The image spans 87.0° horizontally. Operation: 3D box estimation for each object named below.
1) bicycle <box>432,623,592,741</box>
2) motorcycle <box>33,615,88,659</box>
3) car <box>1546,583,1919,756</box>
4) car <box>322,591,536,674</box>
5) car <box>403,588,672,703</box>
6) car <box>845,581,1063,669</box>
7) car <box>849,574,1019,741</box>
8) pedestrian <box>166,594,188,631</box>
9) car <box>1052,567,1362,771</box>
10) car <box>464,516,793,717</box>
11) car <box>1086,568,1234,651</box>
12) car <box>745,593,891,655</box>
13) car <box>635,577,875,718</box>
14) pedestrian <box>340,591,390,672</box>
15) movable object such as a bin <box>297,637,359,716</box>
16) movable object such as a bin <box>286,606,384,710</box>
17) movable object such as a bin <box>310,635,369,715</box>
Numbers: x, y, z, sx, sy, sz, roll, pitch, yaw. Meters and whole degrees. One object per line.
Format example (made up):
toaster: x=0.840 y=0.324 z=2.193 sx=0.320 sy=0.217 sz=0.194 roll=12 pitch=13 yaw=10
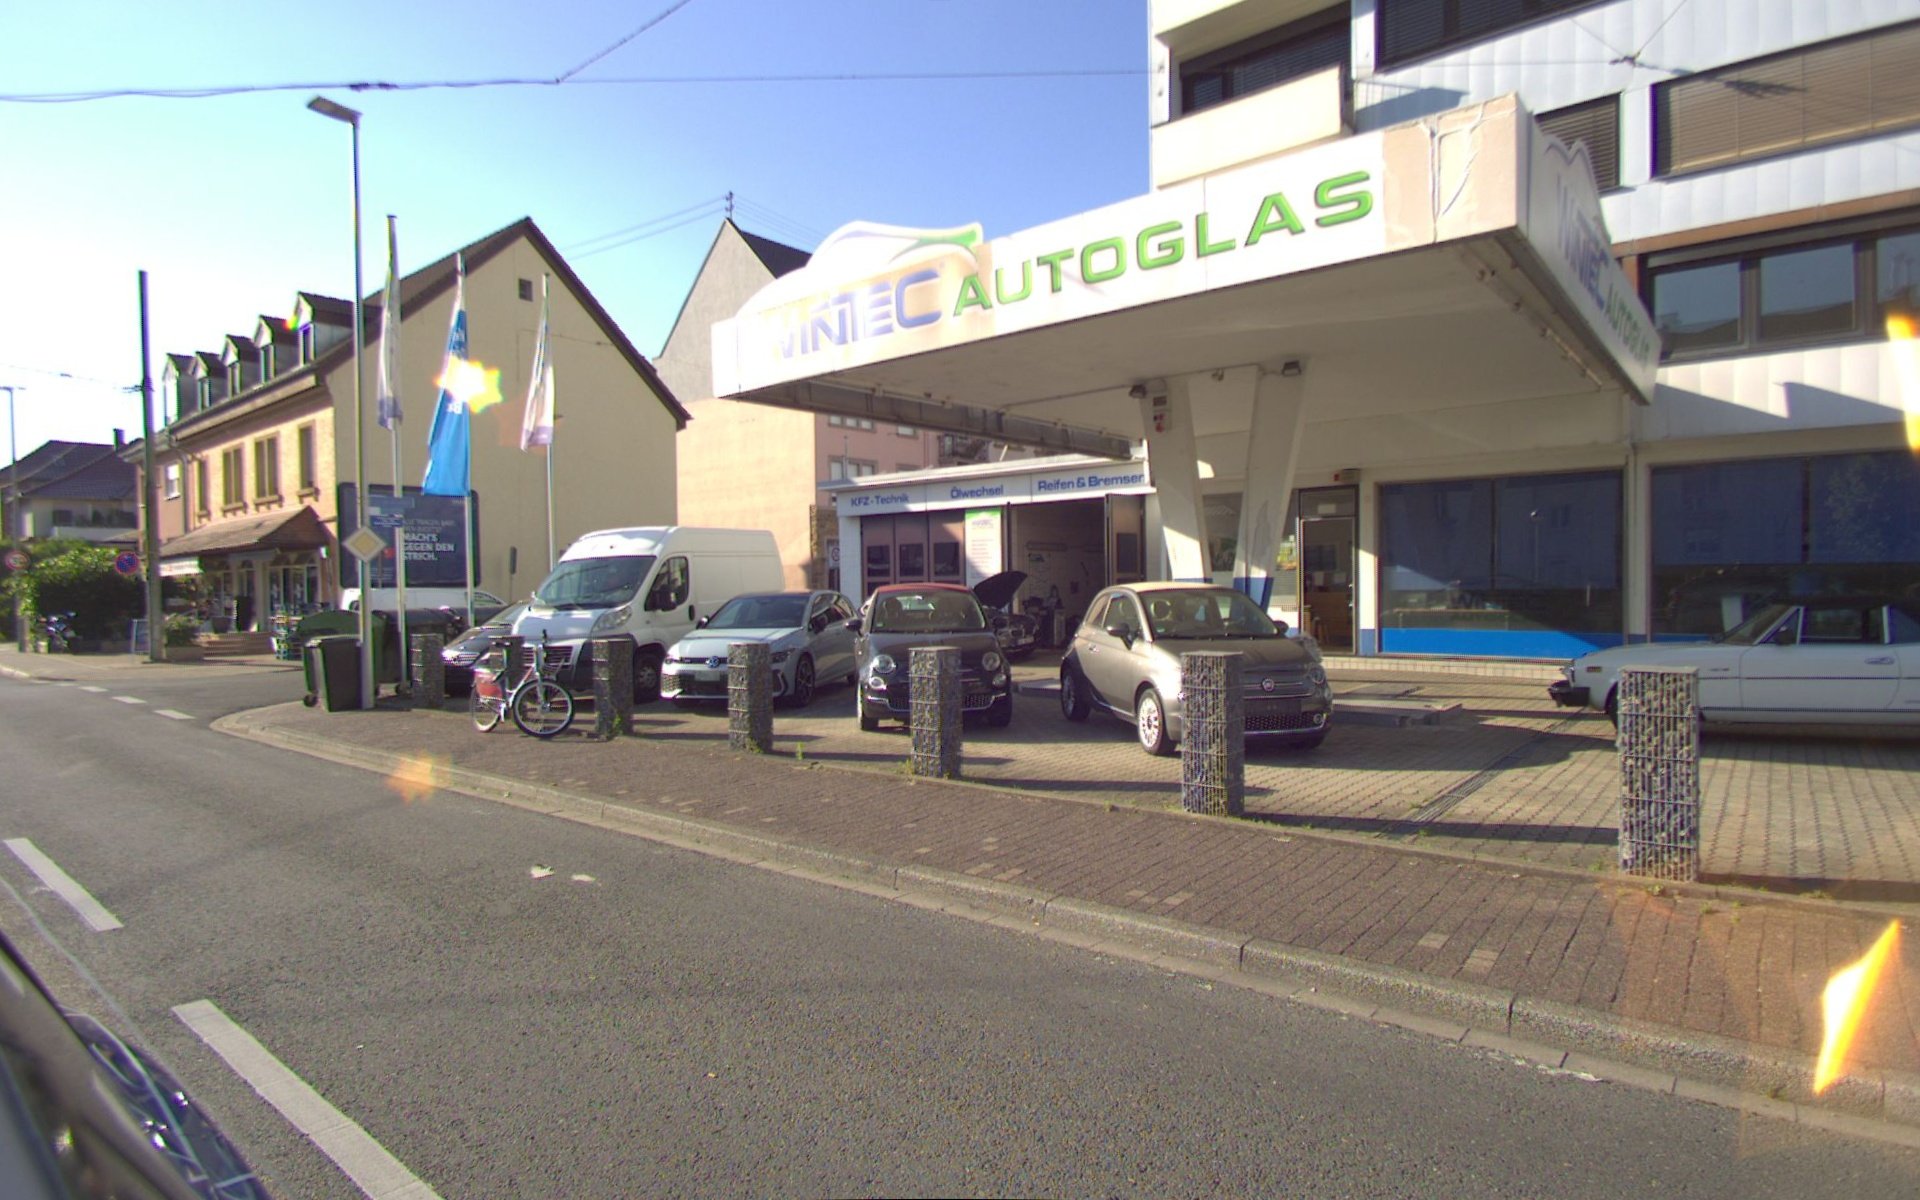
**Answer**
bicycle: x=-4.950 y=0.862 z=11.160 sx=1.774 sy=1.186 sz=0.718 roll=-1 pitch=0 yaw=31
motorcycle: x=-28.054 y=1.132 z=31.553 sx=2.229 sy=1.292 sz=0.831 roll=0 pitch=2 yaw=37
car: x=7.436 y=0.534 z=8.545 sx=4.131 sy=1.294 sz=1.572 roll=-2 pitch=0 yaw=37
car: x=-13.838 y=0.759 z=26.600 sx=1.997 sy=1.947 sz=4.571 roll=-1 pitch=0 yaw=38
car: x=-6.884 y=0.672 z=16.942 sx=1.763 sy=1.580 sz=3.966 roll=-2 pitch=1 yaw=26
car: x=-0.190 y=0.496 z=20.730 sx=4.311 sy=1.580 sz=1.750 roll=-1 pitch=1 yaw=39
car: x=-0.424 y=0.533 z=11.493 sx=1.597 sy=1.580 sz=3.399 roll=-1 pitch=1 yaw=-6
pedestrian: x=-27.067 y=0.428 z=34.971 sx=0.465 sy=1.268 sz=0.517 roll=-1 pitch=0 yaw=42
car: x=2.154 y=0.526 z=9.789 sx=1.595 sy=1.580 sz=3.402 roll=-1 pitch=1 yaw=-11
car: x=-4.651 y=0.162 z=15.232 sx=2.091 sy=2.488 sz=5.042 roll=-1 pitch=1 yaw=18
car: x=4.795 y=0.174 z=23.827 sx=1.769 sy=1.722 sz=4.263 roll=-2 pitch=1 yaw=36
car: x=-4.145 y=0.636 z=29.969 sx=1.999 sy=1.536 sz=3.947 roll=5 pitch=4 yaw=40
car: x=-2.556 y=0.520 z=13.652 sx=1.754 sy=1.580 sz=3.987 roll=-2 pitch=1 yaw=11
pedestrian: x=-14.148 y=0.740 z=24.067 sx=0.820 sy=1.882 sz=0.784 roll=-1 pitch=0 yaw=43
movable object such as a bin: x=-9.315 y=1.109 z=14.912 sx=0.652 sy=1.070 sz=0.586 roll=-4 pitch=1 yaw=-38
movable object such as a bin: x=-9.801 y=0.901 z=15.925 sx=1.040 sy=1.494 sz=1.316 roll=-3 pitch=-2 yaw=-21
movable object such as a bin: x=-8.857 y=1.064 z=14.448 sx=0.631 sy=1.077 sz=0.581 roll=-2 pitch=-2 yaw=-38
